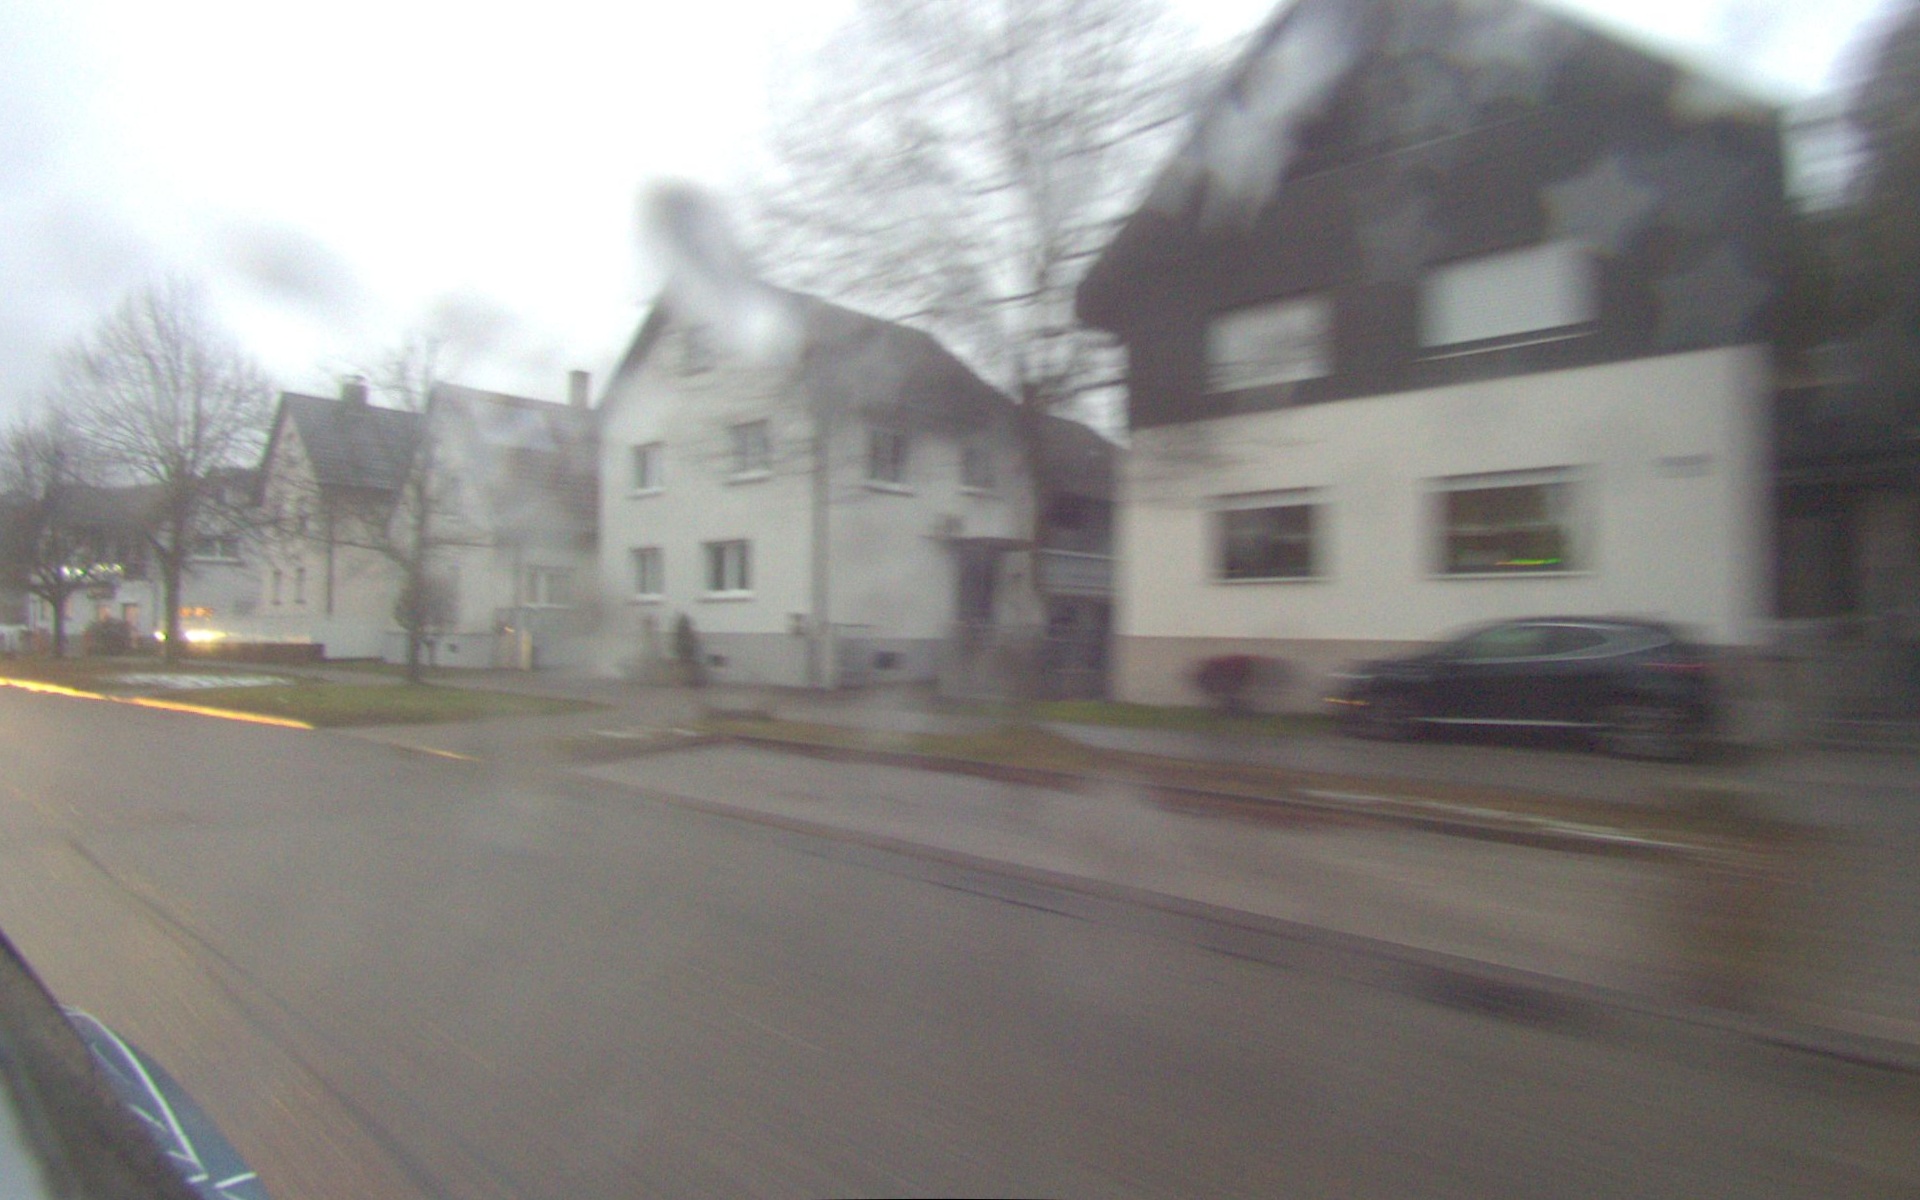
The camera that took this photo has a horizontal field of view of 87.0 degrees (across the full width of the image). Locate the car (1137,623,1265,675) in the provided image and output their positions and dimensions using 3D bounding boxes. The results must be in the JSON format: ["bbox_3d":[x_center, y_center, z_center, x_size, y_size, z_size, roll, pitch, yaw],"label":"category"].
[{"bbox_3d":[6.625,1.361,27.595,1.854,1.267,3.946,-1,-5,40],"label":"car"}]

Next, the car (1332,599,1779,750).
[{"bbox_3d":[6.465,0.721,11.274,4.001,1.376,1.762,-1,-2,44],"label":"car"}]
